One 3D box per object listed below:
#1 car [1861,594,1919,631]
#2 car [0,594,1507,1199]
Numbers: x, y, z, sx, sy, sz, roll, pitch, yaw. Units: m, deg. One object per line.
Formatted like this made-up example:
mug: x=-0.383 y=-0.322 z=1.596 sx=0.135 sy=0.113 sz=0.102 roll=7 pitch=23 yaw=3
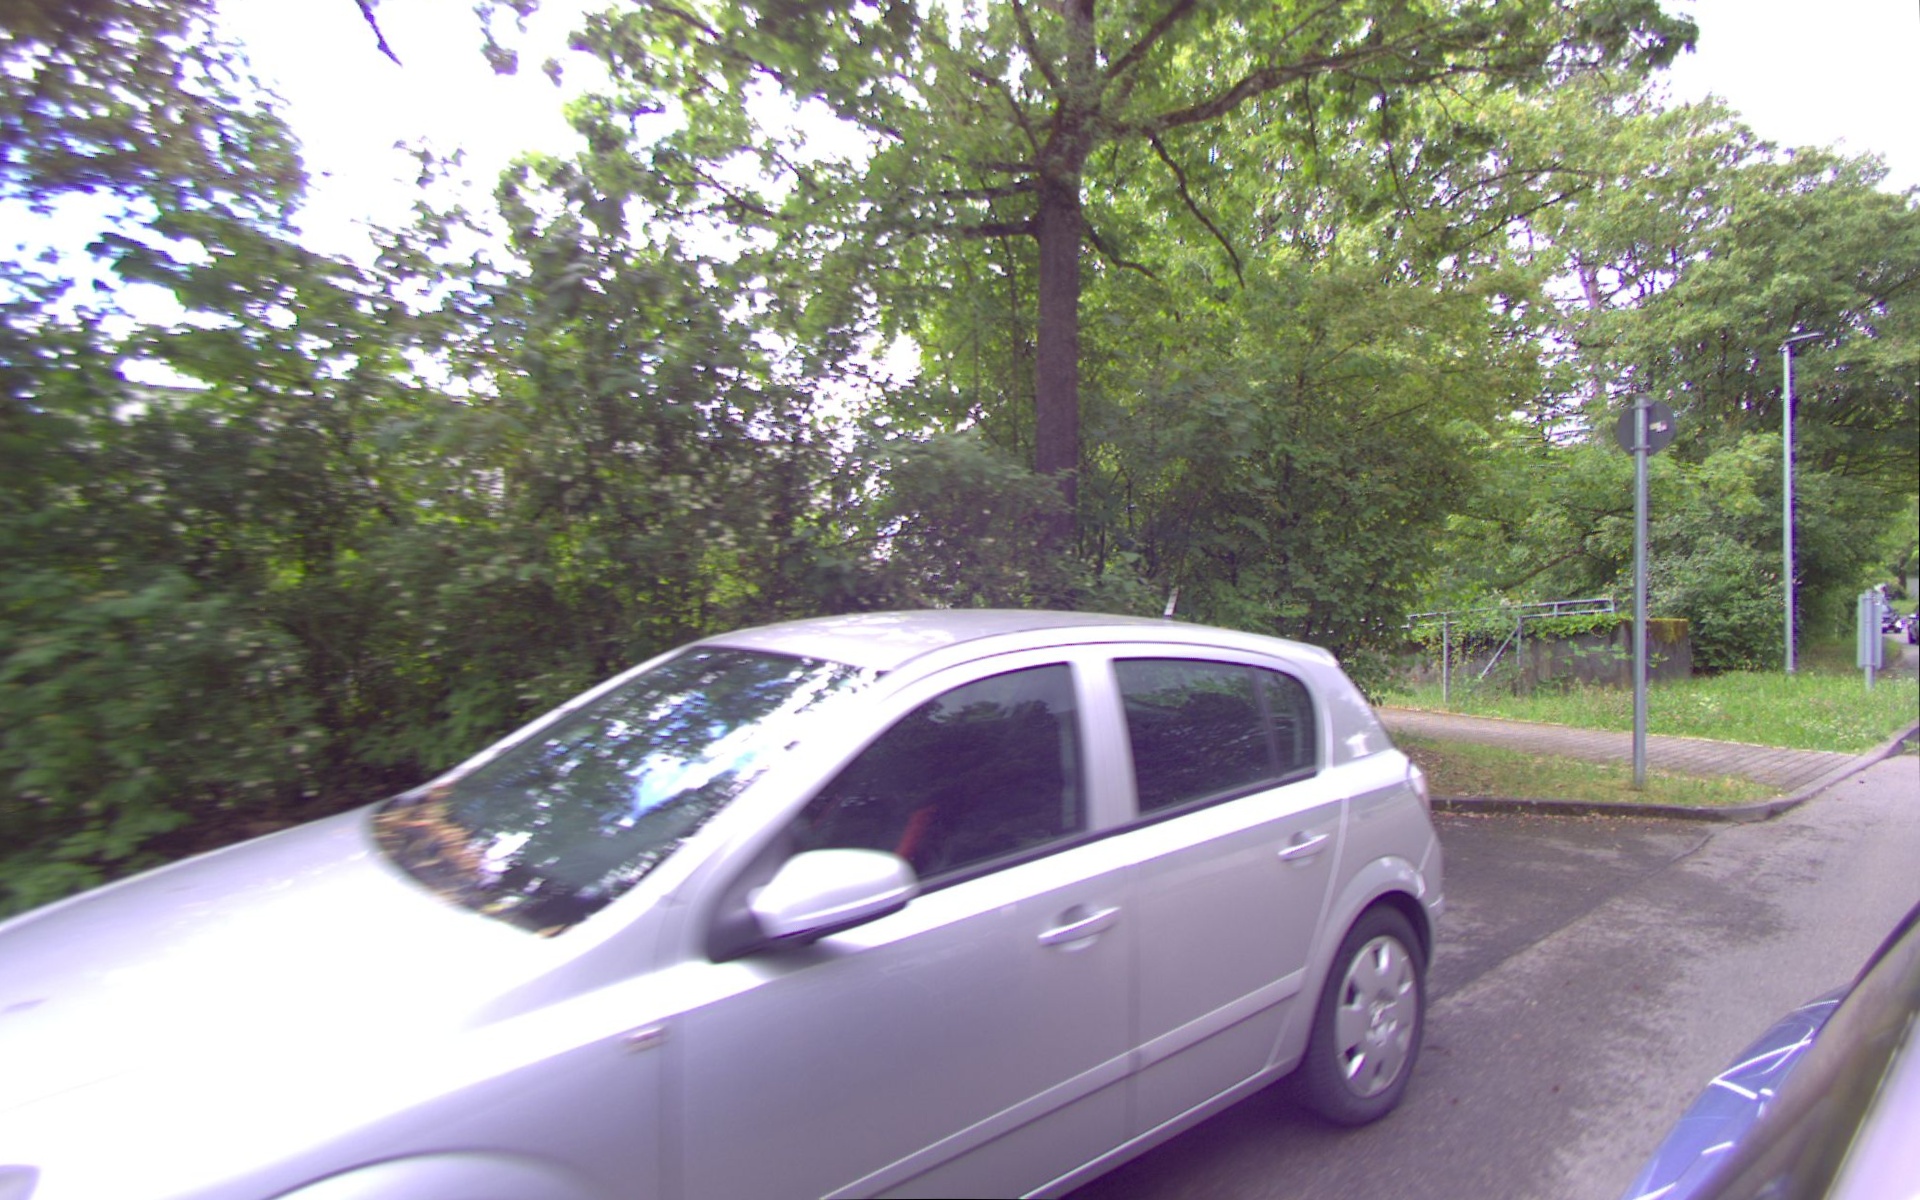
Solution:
car: x=48.076 y=0.637 z=52.252 sx=1.988 sy=1.693 sz=3.946 roll=-3 pitch=-1 yaw=38
car: x=-0.319 y=0.714 z=2.772 sx=3.985 sy=1.428 sz=1.797 roll=0 pitch=1 yaw=-39
